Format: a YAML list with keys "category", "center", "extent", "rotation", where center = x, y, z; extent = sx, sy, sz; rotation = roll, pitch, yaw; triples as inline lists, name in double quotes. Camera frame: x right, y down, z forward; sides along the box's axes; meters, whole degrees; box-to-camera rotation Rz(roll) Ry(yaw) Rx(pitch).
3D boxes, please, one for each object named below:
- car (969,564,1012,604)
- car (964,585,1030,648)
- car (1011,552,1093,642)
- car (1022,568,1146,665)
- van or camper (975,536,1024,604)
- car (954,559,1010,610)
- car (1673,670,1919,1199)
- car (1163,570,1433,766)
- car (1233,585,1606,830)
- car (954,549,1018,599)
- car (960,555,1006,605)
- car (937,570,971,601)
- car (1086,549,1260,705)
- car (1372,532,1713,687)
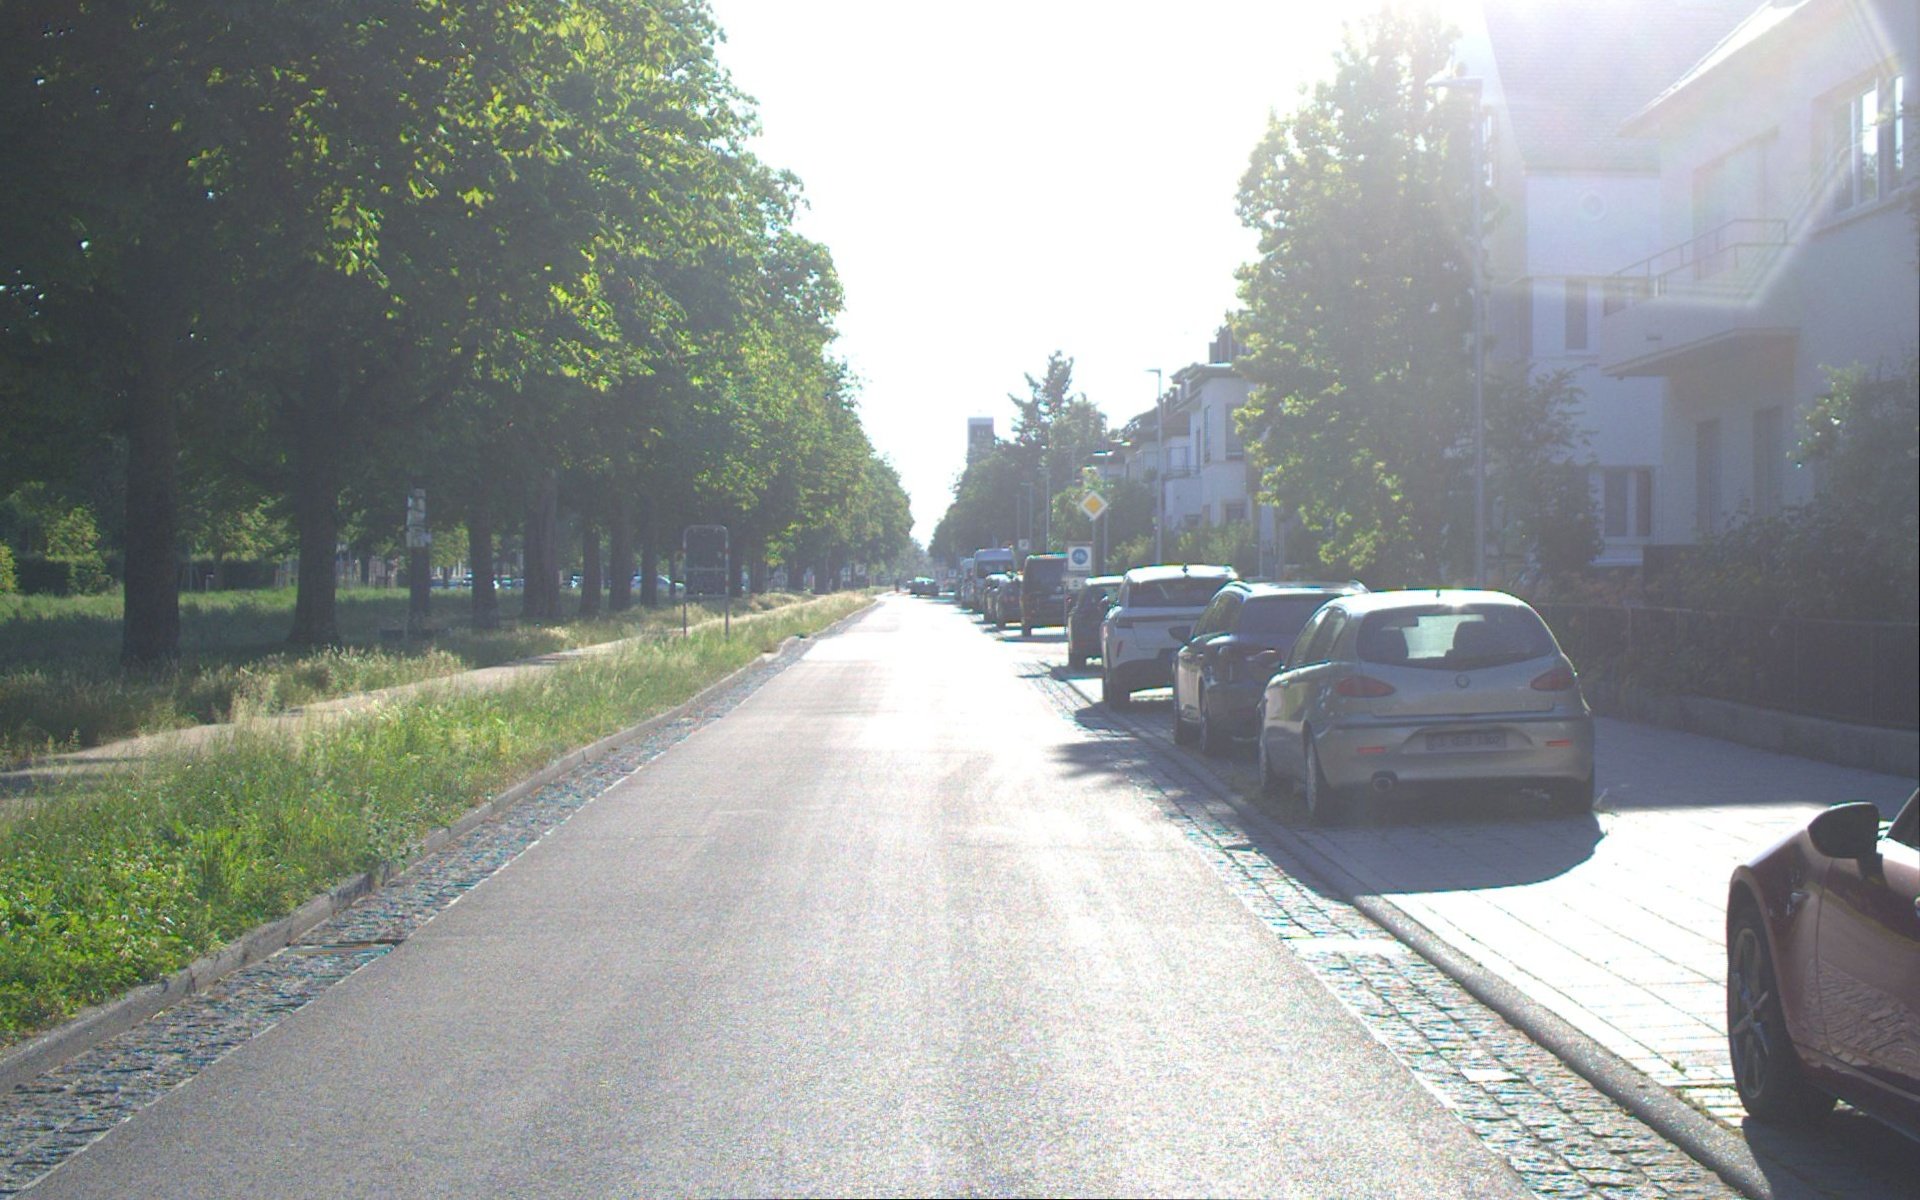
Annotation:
- category: "car"
  center: [1.253, -0.651, 141.493]
  extent: [1.663, 1.587, 4.086]
  rotation: [2, 0, 0]
- category: "car"
  center: [1.080, 0.459, 102.446]
  extent: [1.794, 1.765, 4.473]
  rotation: [-2, 0, -1]
- category: "car"
  center: [2.286, -0.094, 86.225]
  extent: [1.906, 2.124, 4.814]
  rotation: [-2, 0, 0]
- category: "car"
  center: [1.994, 0.246, 56.177]
  extent: [1.794, 1.477, 4.124]
  rotation: [-2, 0, -1]
- category: "van or camper"
  center: [1.672, -1.250, 147.794]
  extent: [1.943, 2.768, 5.939]
  rotation: [2, -1, 0]
- category: "car"
  center: [0.758, -0.564, 119.876]
  extent: [1.832, 1.679, 4.415]
  rotation: [2, 1, 0]
- category: "car"
  center: [2.983, 0.824, 8.229]
  extent: [1.698, 1.253, 3.880]
  rotation: [0, 0, -1]
- category: "car"
  center: [2.785, 0.516, 29.169]
  extent: [1.794, 1.489, 4.194]
  rotation: [-2, 0, -1]
- category: "car"
  center: [2.865, 0.623, 22.267]
  extent: [1.794, 1.375, 4.078]
  rotation: [-2, 0, -1]
- category: "car"
  center: [0.832, -0.846, 112.745]
  extent: [1.717, 1.568, 4.211]
  rotation: [-2, 0, -4]
- category: "car"
  center: [1.166, -1.060, 178.130]
  extent: [2.126, 2.524, 5.189]
  rotation: [-1, 0, -2]
- category: "car"
  center: [-0.279, -0.736, 171.765]
  extent: [1.650, 1.525, 3.851]
  rotation: [-1, 0, 1]
- category: "car"
  center: [2.471, 0.318, 40.878]
  extent: [1.905, 1.702, 4.574]
  rotation: [-2, 0, 2]
- category: "car"
  center: [7.558, 0.106, 44.823]
  extent: [3.982, 1.838, 1.816]
  rotation: [2, 1, -6]
